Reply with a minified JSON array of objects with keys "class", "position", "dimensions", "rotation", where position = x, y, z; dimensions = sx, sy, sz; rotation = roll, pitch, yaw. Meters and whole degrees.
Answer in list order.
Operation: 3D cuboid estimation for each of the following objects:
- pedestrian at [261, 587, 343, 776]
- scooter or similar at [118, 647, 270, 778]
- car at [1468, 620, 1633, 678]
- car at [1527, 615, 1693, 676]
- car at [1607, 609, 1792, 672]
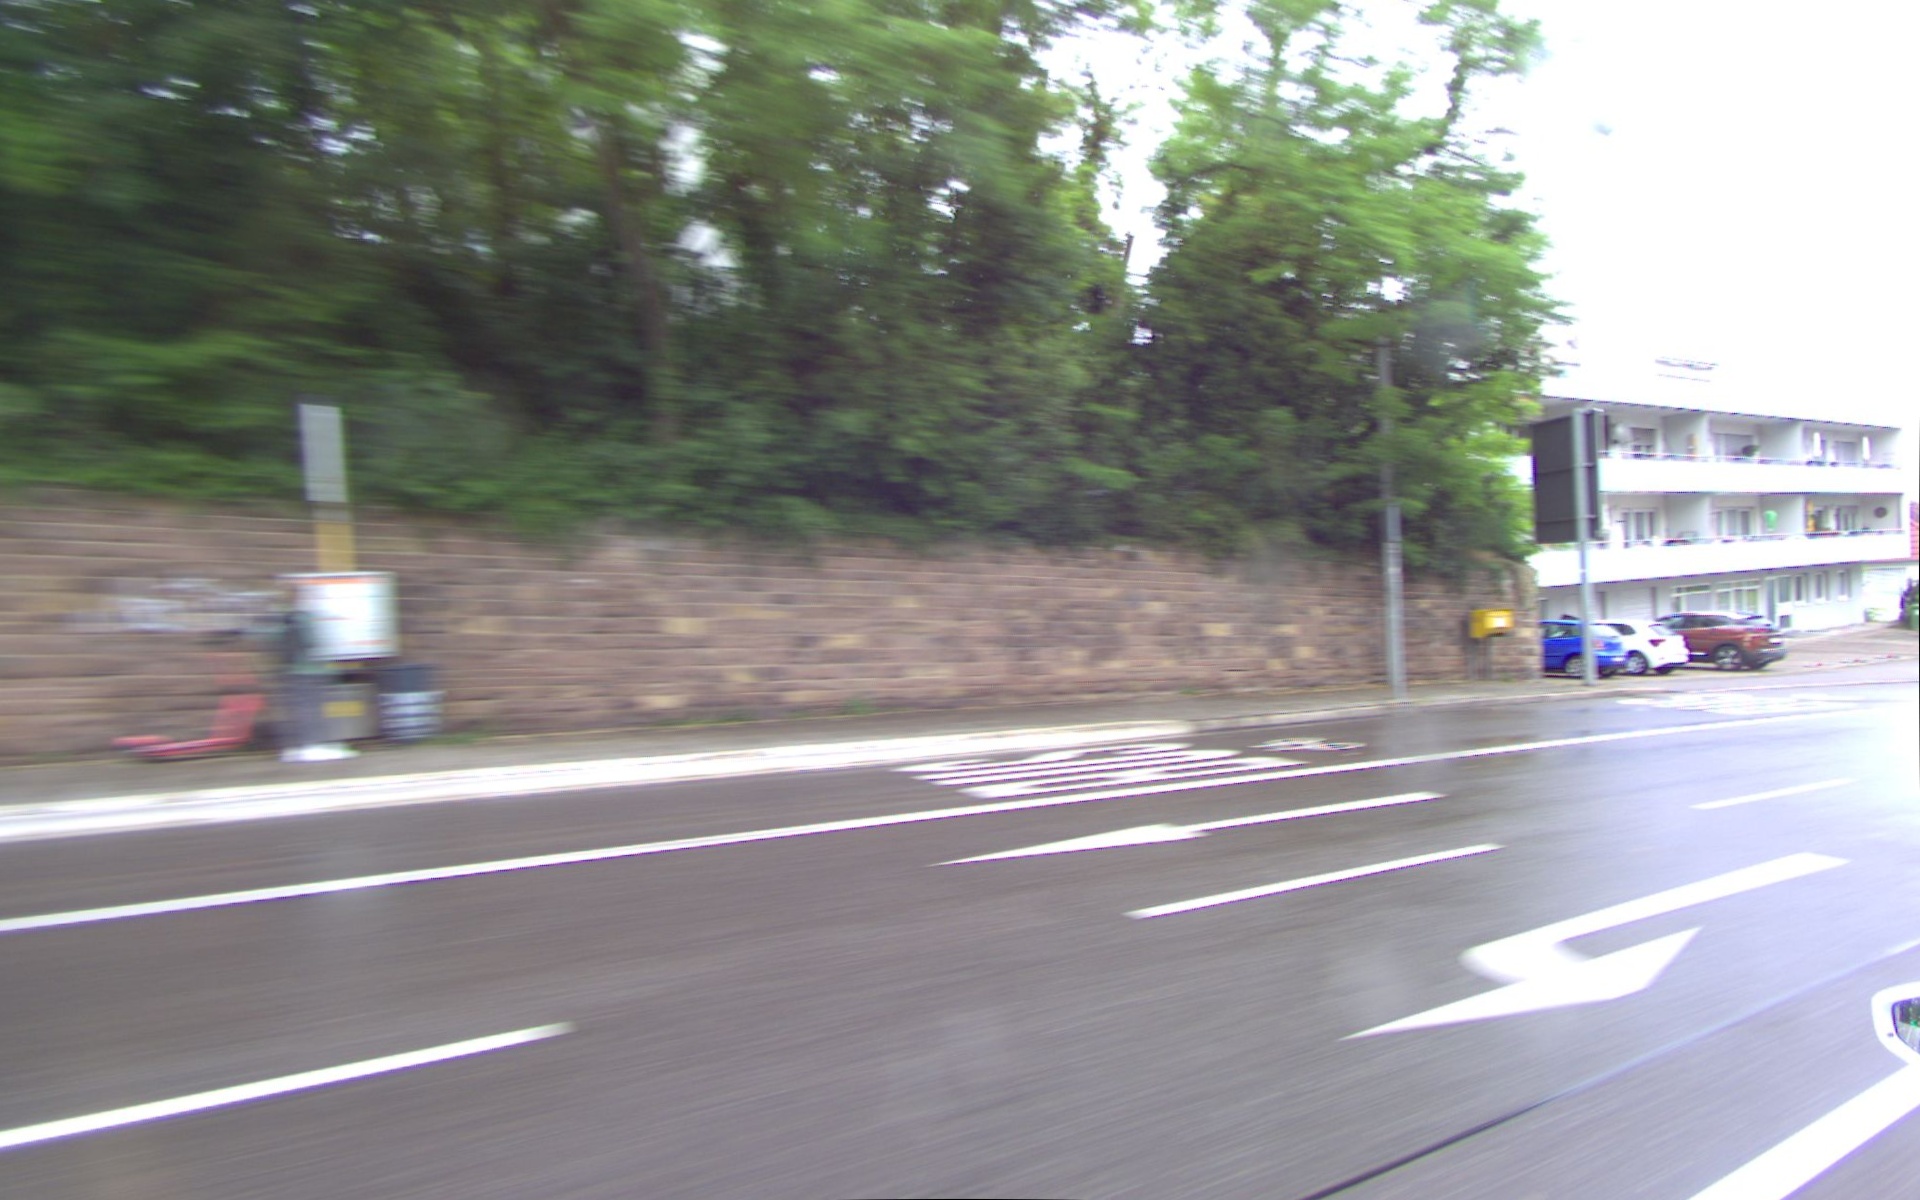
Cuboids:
[{"class":"pedestrian","position":[-6.376,0.763,9.759],"dimensions":[0.616,1.755,0.584],"rotation":[1,0,-32]},{"class":"scooter or similar","position":[-7.394,1.062,9.741],"dimensions":[1.112,1.197,0.371],"rotation":[1,0,-30]},{"class":"car","position":[15.506,1.246,26.517],"dimensions":[1.620,1.409,3.410],"rotation":[0,-1,-34]},{"class":"car","position":[17.729,1.201,27.538],"dimensions":[1.687,1.464,3.415],"rotation":[1,0,-29]},{"class":"car","position":[20.962,1.094,28.628],"dimensions":[1.697,1.570,3.901],"rotation":[1,0,-32]}]
